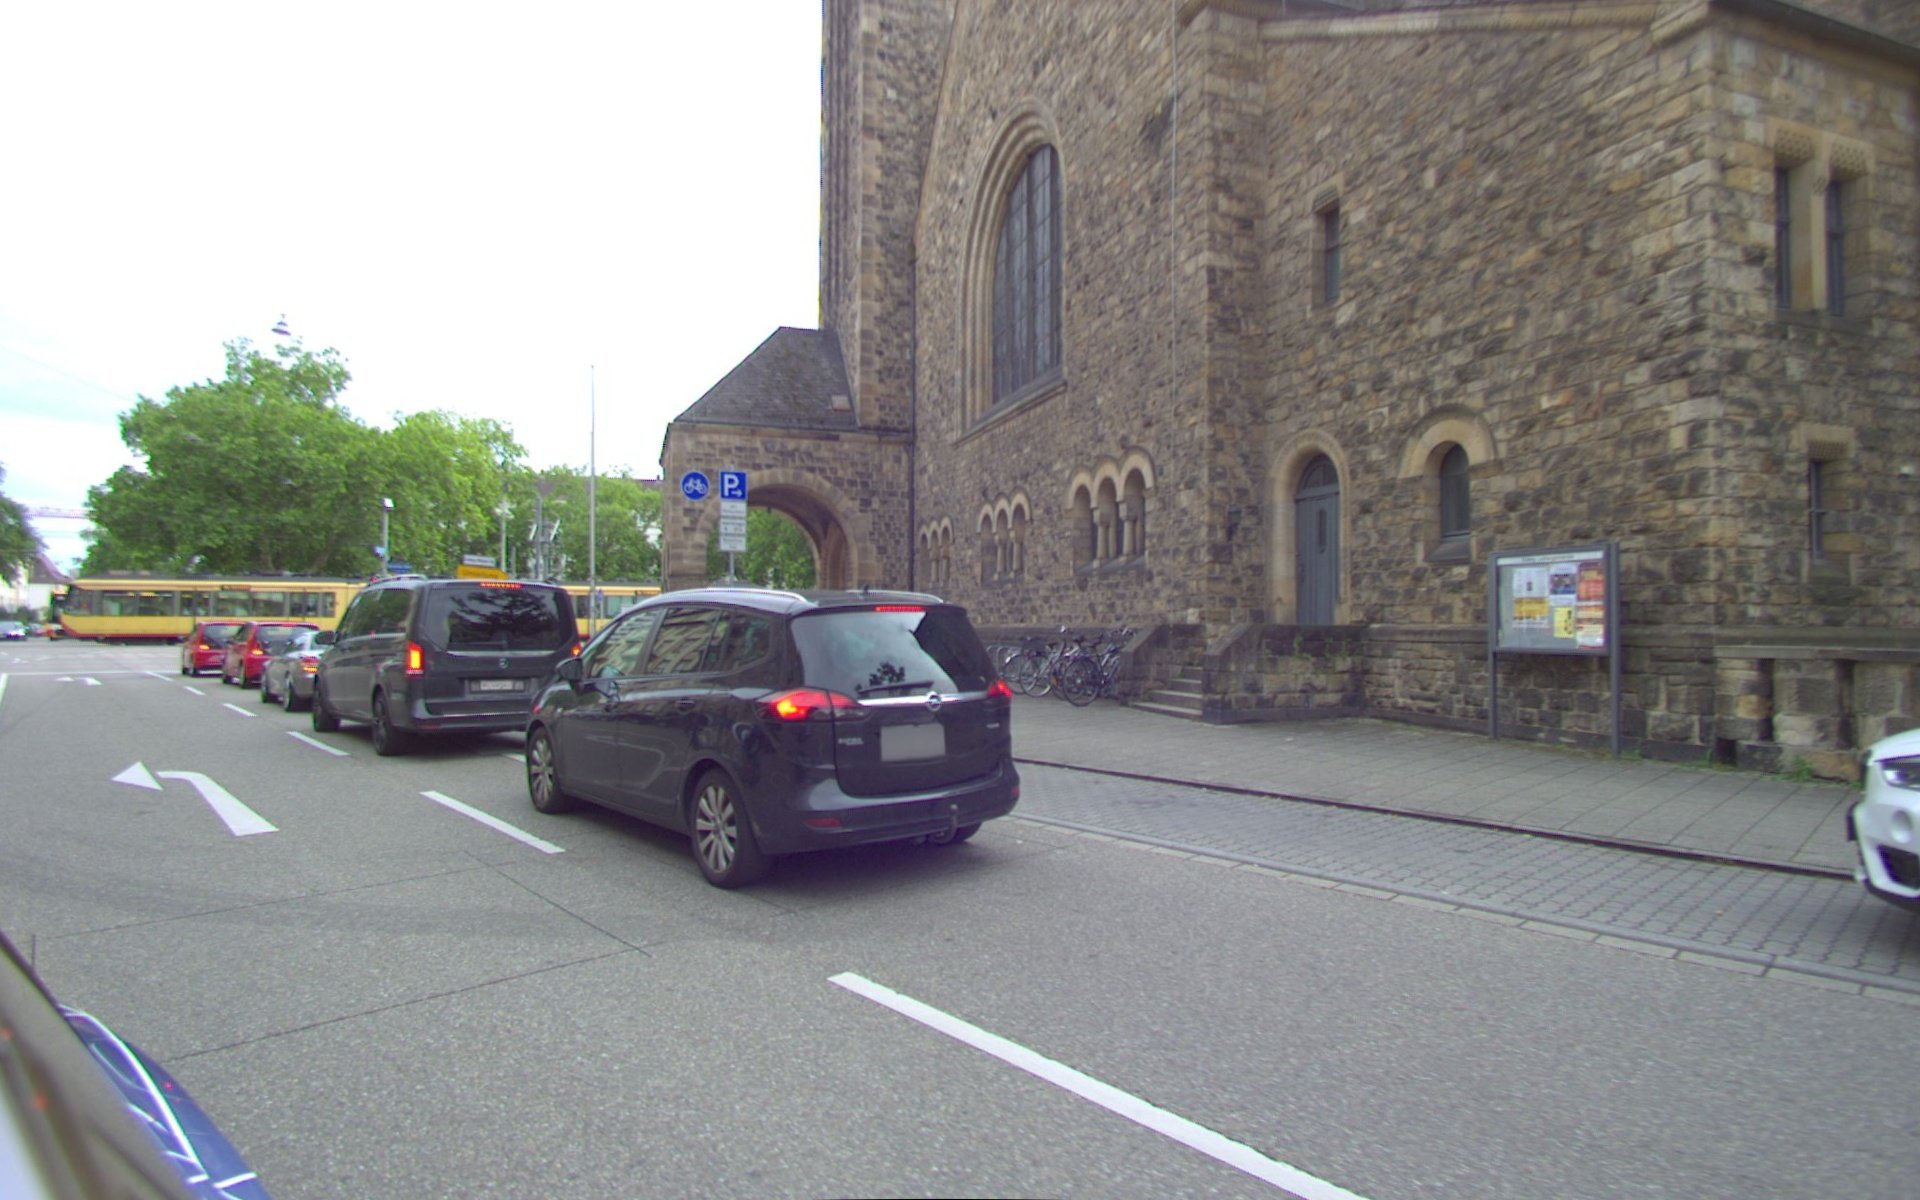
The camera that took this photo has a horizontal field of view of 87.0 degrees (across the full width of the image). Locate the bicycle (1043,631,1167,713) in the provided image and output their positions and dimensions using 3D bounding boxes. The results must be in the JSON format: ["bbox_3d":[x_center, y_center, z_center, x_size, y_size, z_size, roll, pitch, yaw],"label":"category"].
[{"bbox_3d":[2.179,1.047,15.151,1.753,1.161,0.744,1,-2,-30],"label":"bicycle"}]

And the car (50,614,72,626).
[{"bbox_3d":[-158.999,3.556,178.970,1.965,2.029,4.013,1,-1,-27],"label":"car"}]

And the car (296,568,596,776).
[{"bbox_3d":[-6.387,0.758,12.199,1.889,1.969,5.289,1,-2,-42],"label":"car"}]

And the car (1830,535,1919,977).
[{"bbox_3d":[5.703,0.559,3.084,1.821,1.701,4.436,1,-2,-43],"label":"car"}]

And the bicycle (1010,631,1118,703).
[{"bbox_3d":[1.745,1.091,16.929,1.753,1.139,0.663,1,-2,-30],"label":"bicycle"}]

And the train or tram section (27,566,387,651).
[{"bbox_3d":[-38.995,0.536,53.339,14.781,4.124,3.666,1,-1,-17],"label":"train or tram section"}]

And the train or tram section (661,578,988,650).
[{"bbox_3d":[-8.192,0.931,62.463,19.607,4.124,3.639,1,-1,-17],"label":"train or tram section"}]

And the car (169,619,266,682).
[{"bbox_3d":[-19.880,1.356,27.041,1.629,1.540,3.898,4,-5,-42],"label":"car"}]

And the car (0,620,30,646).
[{"bbox_3d":[-67.111,2.331,70.997,1.635,1.732,3.751,1,-4,-24],"label":"car"}]

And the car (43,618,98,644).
[{"bbox_3d":[-63.603,2.265,72.438,1.879,1.732,3.751,1,-4,-24],"label":"car"}]

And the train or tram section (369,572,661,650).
[{"bbox_3d":[-24.765,0.713,57.507,14.781,4.124,3.592,1,-1,-17],"label":"train or tram section"}]

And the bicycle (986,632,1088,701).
[{"bbox_3d":[1.342,1.127,17.580,1.754,1.134,0.569,1,-2,-30],"label":"bicycle"}]

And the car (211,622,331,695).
[{"bbox_3d":[-15.540,1.276,22.764,1.583,1.468,3.721,5,-4,-43],"label":"car"}]

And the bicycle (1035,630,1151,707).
[{"bbox_3d":[2.143,1.068,16.222,1.753,1.175,0.744,1,-2,-30],"label":"bicycle"}]

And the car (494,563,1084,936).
[{"bbox_3d":[-1.483,0.746,6.935,1.822,1.697,4.553,1,-2,-42],"label":"car"}]

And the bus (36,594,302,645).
[{"bbox_3d":[-46.927,1.216,60.628,12.167,2.878,3.302,1,-1,-17],"label":"bus"}]

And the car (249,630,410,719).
[{"bbox_3d":[-10.882,1.212,17.357,1.683,1.296,4.048,4,-3,-41],"label":"car"}]

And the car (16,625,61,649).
[{"bbox_3d":[-71.139,2.874,78.204,1.635,1.732,3.751,1,-4,-28],"label":"car"}]
